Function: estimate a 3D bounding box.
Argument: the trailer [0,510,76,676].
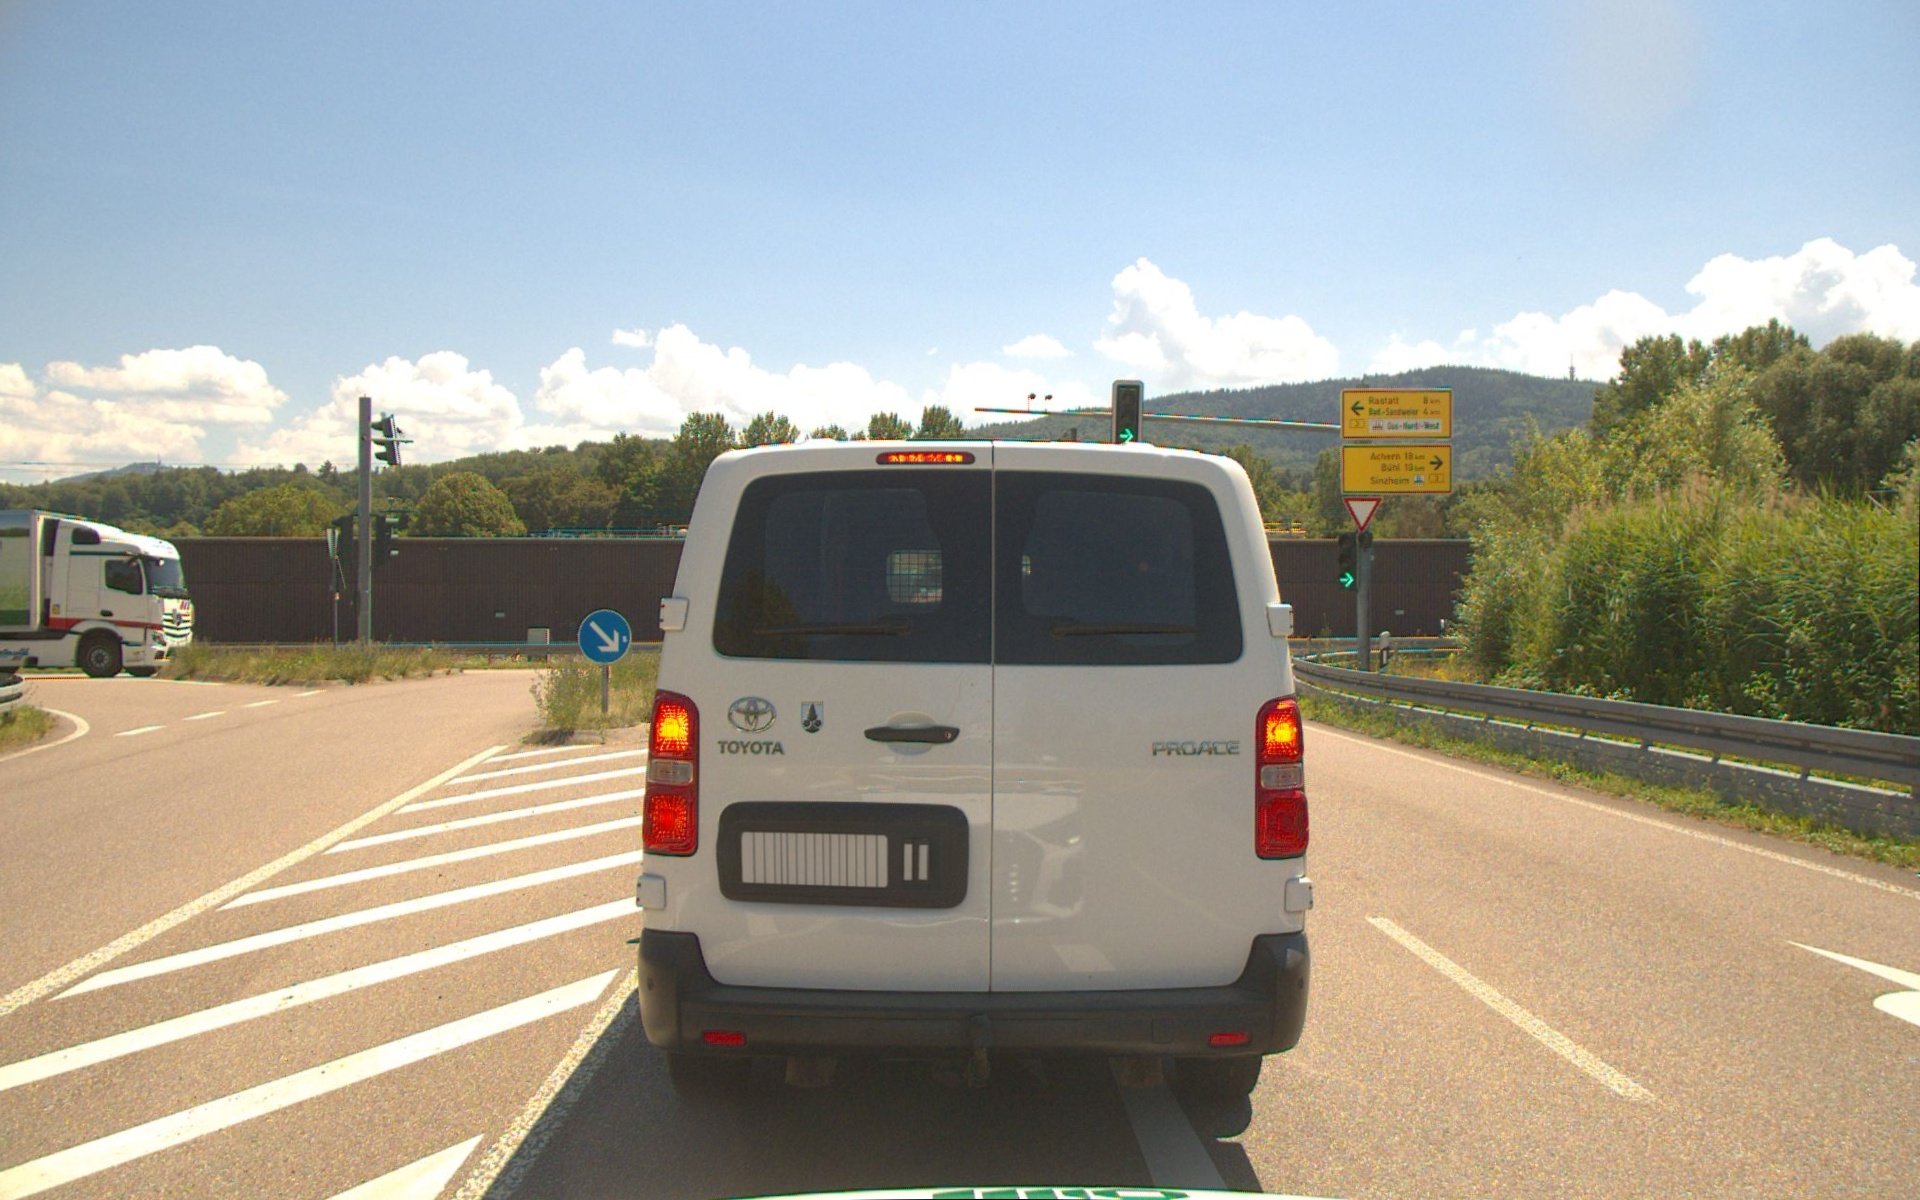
[{"bbox_3d":[-29.520,-0.179,41.447,12.877,4.024,3.060,0,-1,-3],"label":"trailer"}]

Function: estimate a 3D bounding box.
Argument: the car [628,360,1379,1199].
[{"bbox_3d":[0.079,0.471,5.926,1.778,2.053,3.999,0,0,-1],"label":"car"}]

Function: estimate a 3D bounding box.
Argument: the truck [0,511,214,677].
[{"bbox_3d":[-22.391,-0.142,41.785,5.649,4.024,3.061,0,-1,-3],"label":"truck"}]
